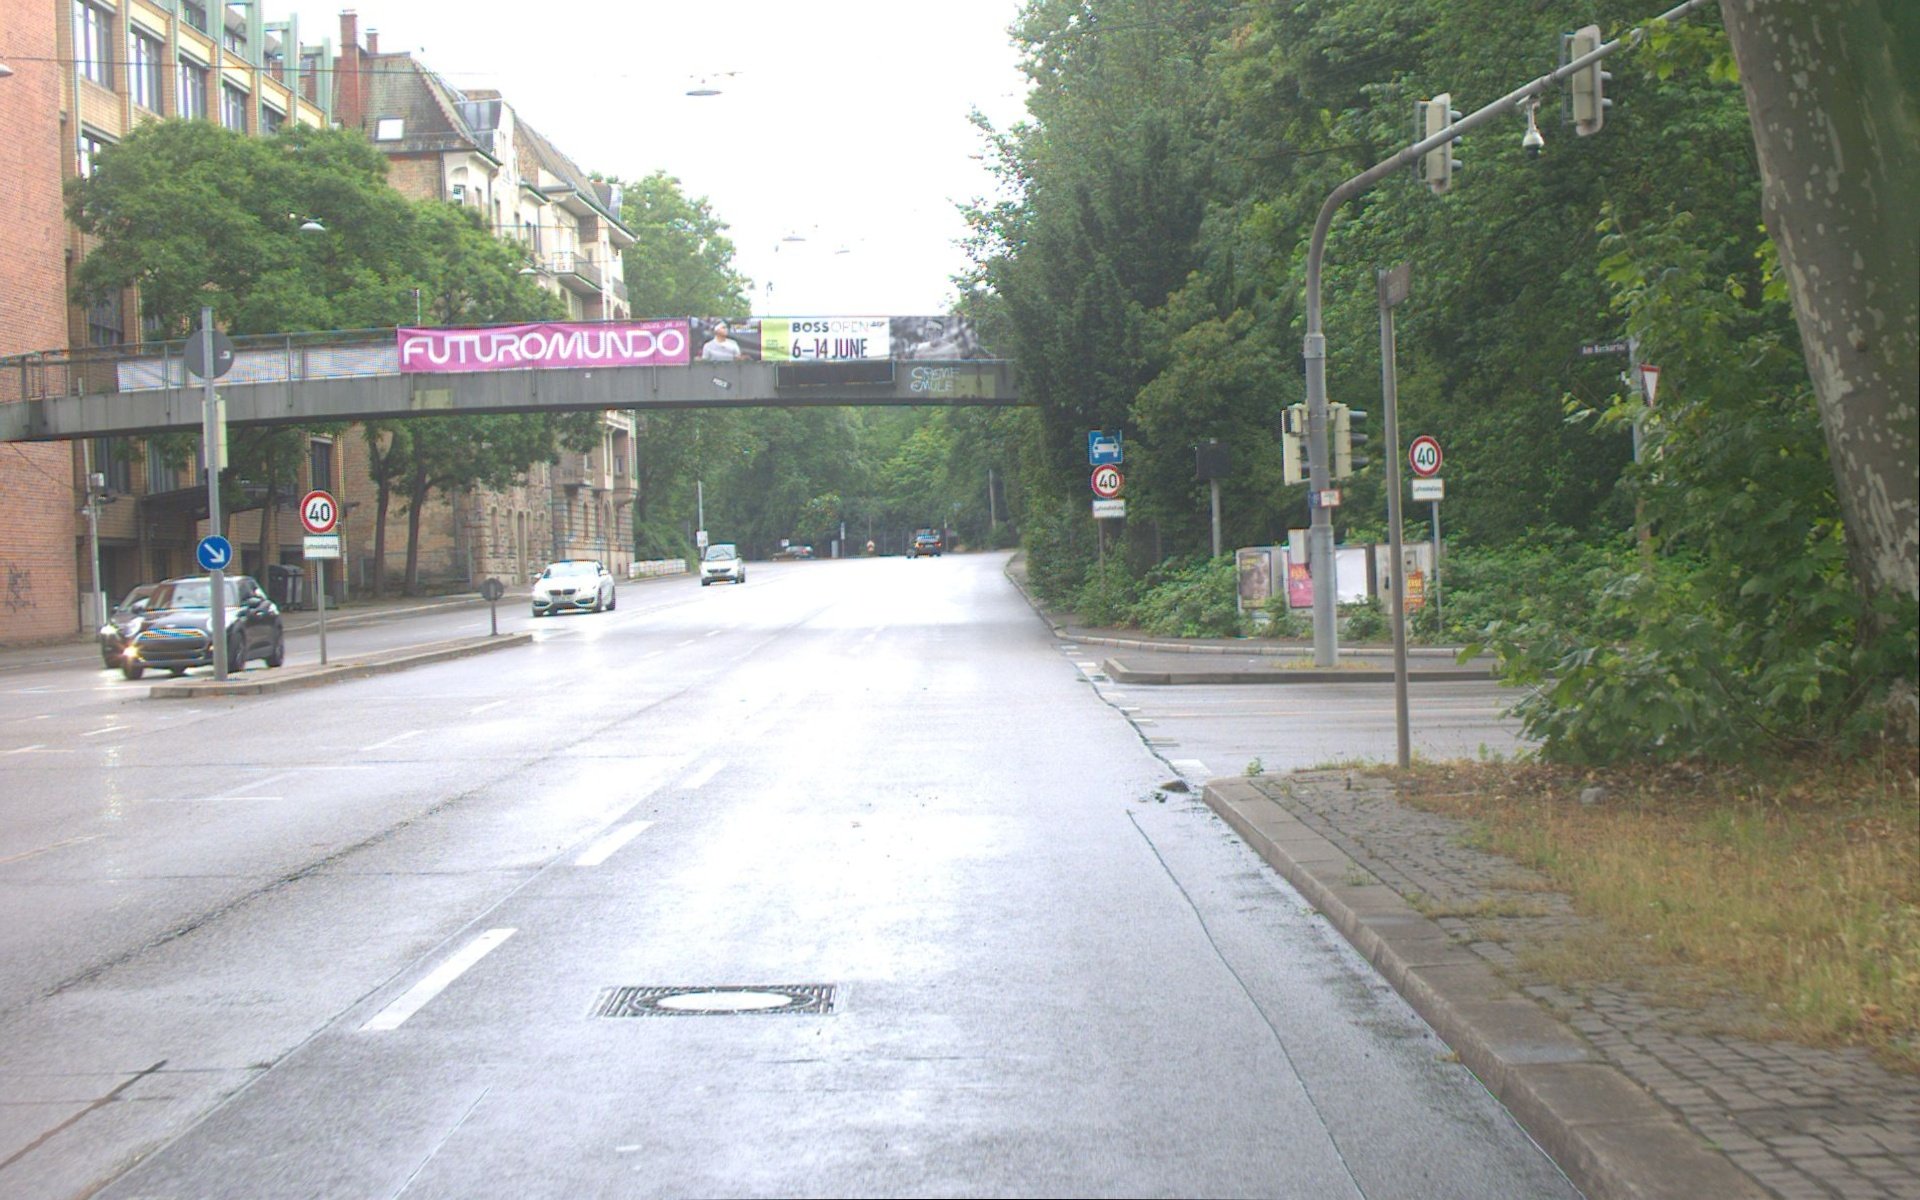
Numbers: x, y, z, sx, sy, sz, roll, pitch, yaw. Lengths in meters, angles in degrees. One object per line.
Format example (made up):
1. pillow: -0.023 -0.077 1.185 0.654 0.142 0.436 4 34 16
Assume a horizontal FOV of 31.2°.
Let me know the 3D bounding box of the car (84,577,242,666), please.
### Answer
1. car: -14.287 0.360 61.800 1.709 1.459 4.041 -2 1 2

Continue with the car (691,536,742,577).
1. car: -9.541 -1.708 134.990 1.600 1.494 3.711 -3 1 1

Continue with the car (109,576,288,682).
1. car: -11.158 0.396 50.614 1.683 1.431 3.862 -2 1 1

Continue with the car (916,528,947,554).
1. car: -1.910 -3.930 229.228 2.004 1.638 4.376 -2 1 -1

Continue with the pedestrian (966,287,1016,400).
1. pedestrian: 0.655 -5.479 73.658 0.954 2.337 1.007 1 0 -5

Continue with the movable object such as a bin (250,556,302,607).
1. movable object such as a bin: -20.966 -0.557 105.419 1.299 1.513 1.214 -2 1 1

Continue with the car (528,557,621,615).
1. car: -10.074 -0.392 90.177 1.830 1.389 4.405 -3 1 1
